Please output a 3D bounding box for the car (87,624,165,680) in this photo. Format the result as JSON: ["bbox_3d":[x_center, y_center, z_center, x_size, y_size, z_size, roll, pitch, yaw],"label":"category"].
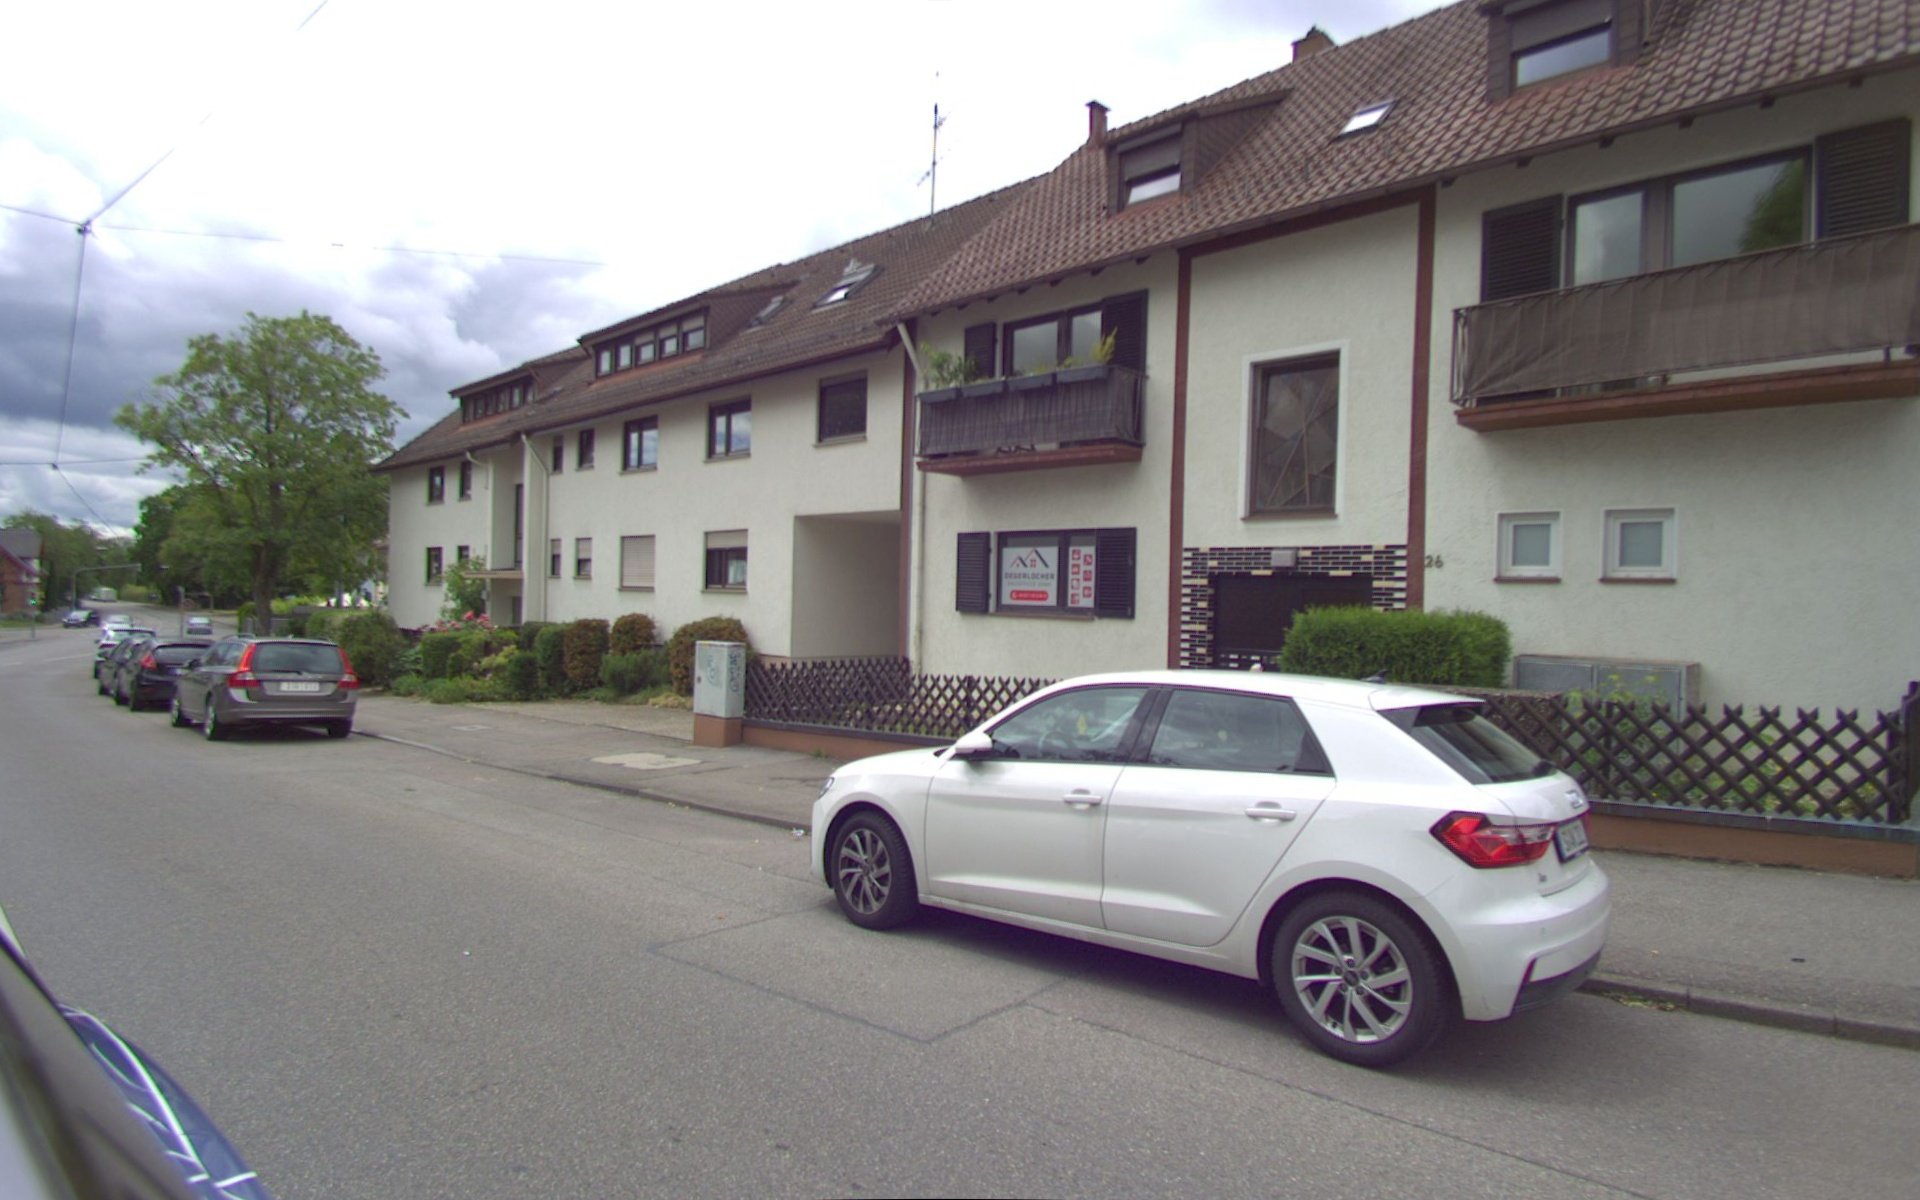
[{"bbox_3d":[-27.853,1.691,33.765,1.826,1.727,4.582,3,-3,-41],"label":"car"}]

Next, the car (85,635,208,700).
[{"bbox_3d":[-19.998,1.616,24.812,4.078,1.449,1.743,-2,-4,43],"label":"car"}]

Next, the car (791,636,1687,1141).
[{"bbox_3d":[1.105,0.972,4.999,3.897,1.469,1.708,-1,-5,41],"label":"car"}]

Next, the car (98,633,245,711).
[{"bbox_3d":[-16.457,1.471,21.054,4.079,1.449,1.743,-2,-6,44],"label":"car"}]

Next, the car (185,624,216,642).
[{"bbox_3d":[-65.518,2.825,87.366,1.689,1.364,4.095,4,-2,-32],"label":"car"}]

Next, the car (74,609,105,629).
[{"bbox_3d":[-82.127,1.809,95.537,1.896,1.530,4.010,3,1,-37],"label":"car"}]

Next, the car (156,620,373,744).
[{"bbox_3d":[-11.192,1.217,16.133,4.788,1.693,1.826,-1,-5,44],"label":"car"}]

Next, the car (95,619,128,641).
[{"bbox_3d":[-64.600,2.256,77.072,1.754,1.530,3.562,-1,1,-43],"label":"car"}]
